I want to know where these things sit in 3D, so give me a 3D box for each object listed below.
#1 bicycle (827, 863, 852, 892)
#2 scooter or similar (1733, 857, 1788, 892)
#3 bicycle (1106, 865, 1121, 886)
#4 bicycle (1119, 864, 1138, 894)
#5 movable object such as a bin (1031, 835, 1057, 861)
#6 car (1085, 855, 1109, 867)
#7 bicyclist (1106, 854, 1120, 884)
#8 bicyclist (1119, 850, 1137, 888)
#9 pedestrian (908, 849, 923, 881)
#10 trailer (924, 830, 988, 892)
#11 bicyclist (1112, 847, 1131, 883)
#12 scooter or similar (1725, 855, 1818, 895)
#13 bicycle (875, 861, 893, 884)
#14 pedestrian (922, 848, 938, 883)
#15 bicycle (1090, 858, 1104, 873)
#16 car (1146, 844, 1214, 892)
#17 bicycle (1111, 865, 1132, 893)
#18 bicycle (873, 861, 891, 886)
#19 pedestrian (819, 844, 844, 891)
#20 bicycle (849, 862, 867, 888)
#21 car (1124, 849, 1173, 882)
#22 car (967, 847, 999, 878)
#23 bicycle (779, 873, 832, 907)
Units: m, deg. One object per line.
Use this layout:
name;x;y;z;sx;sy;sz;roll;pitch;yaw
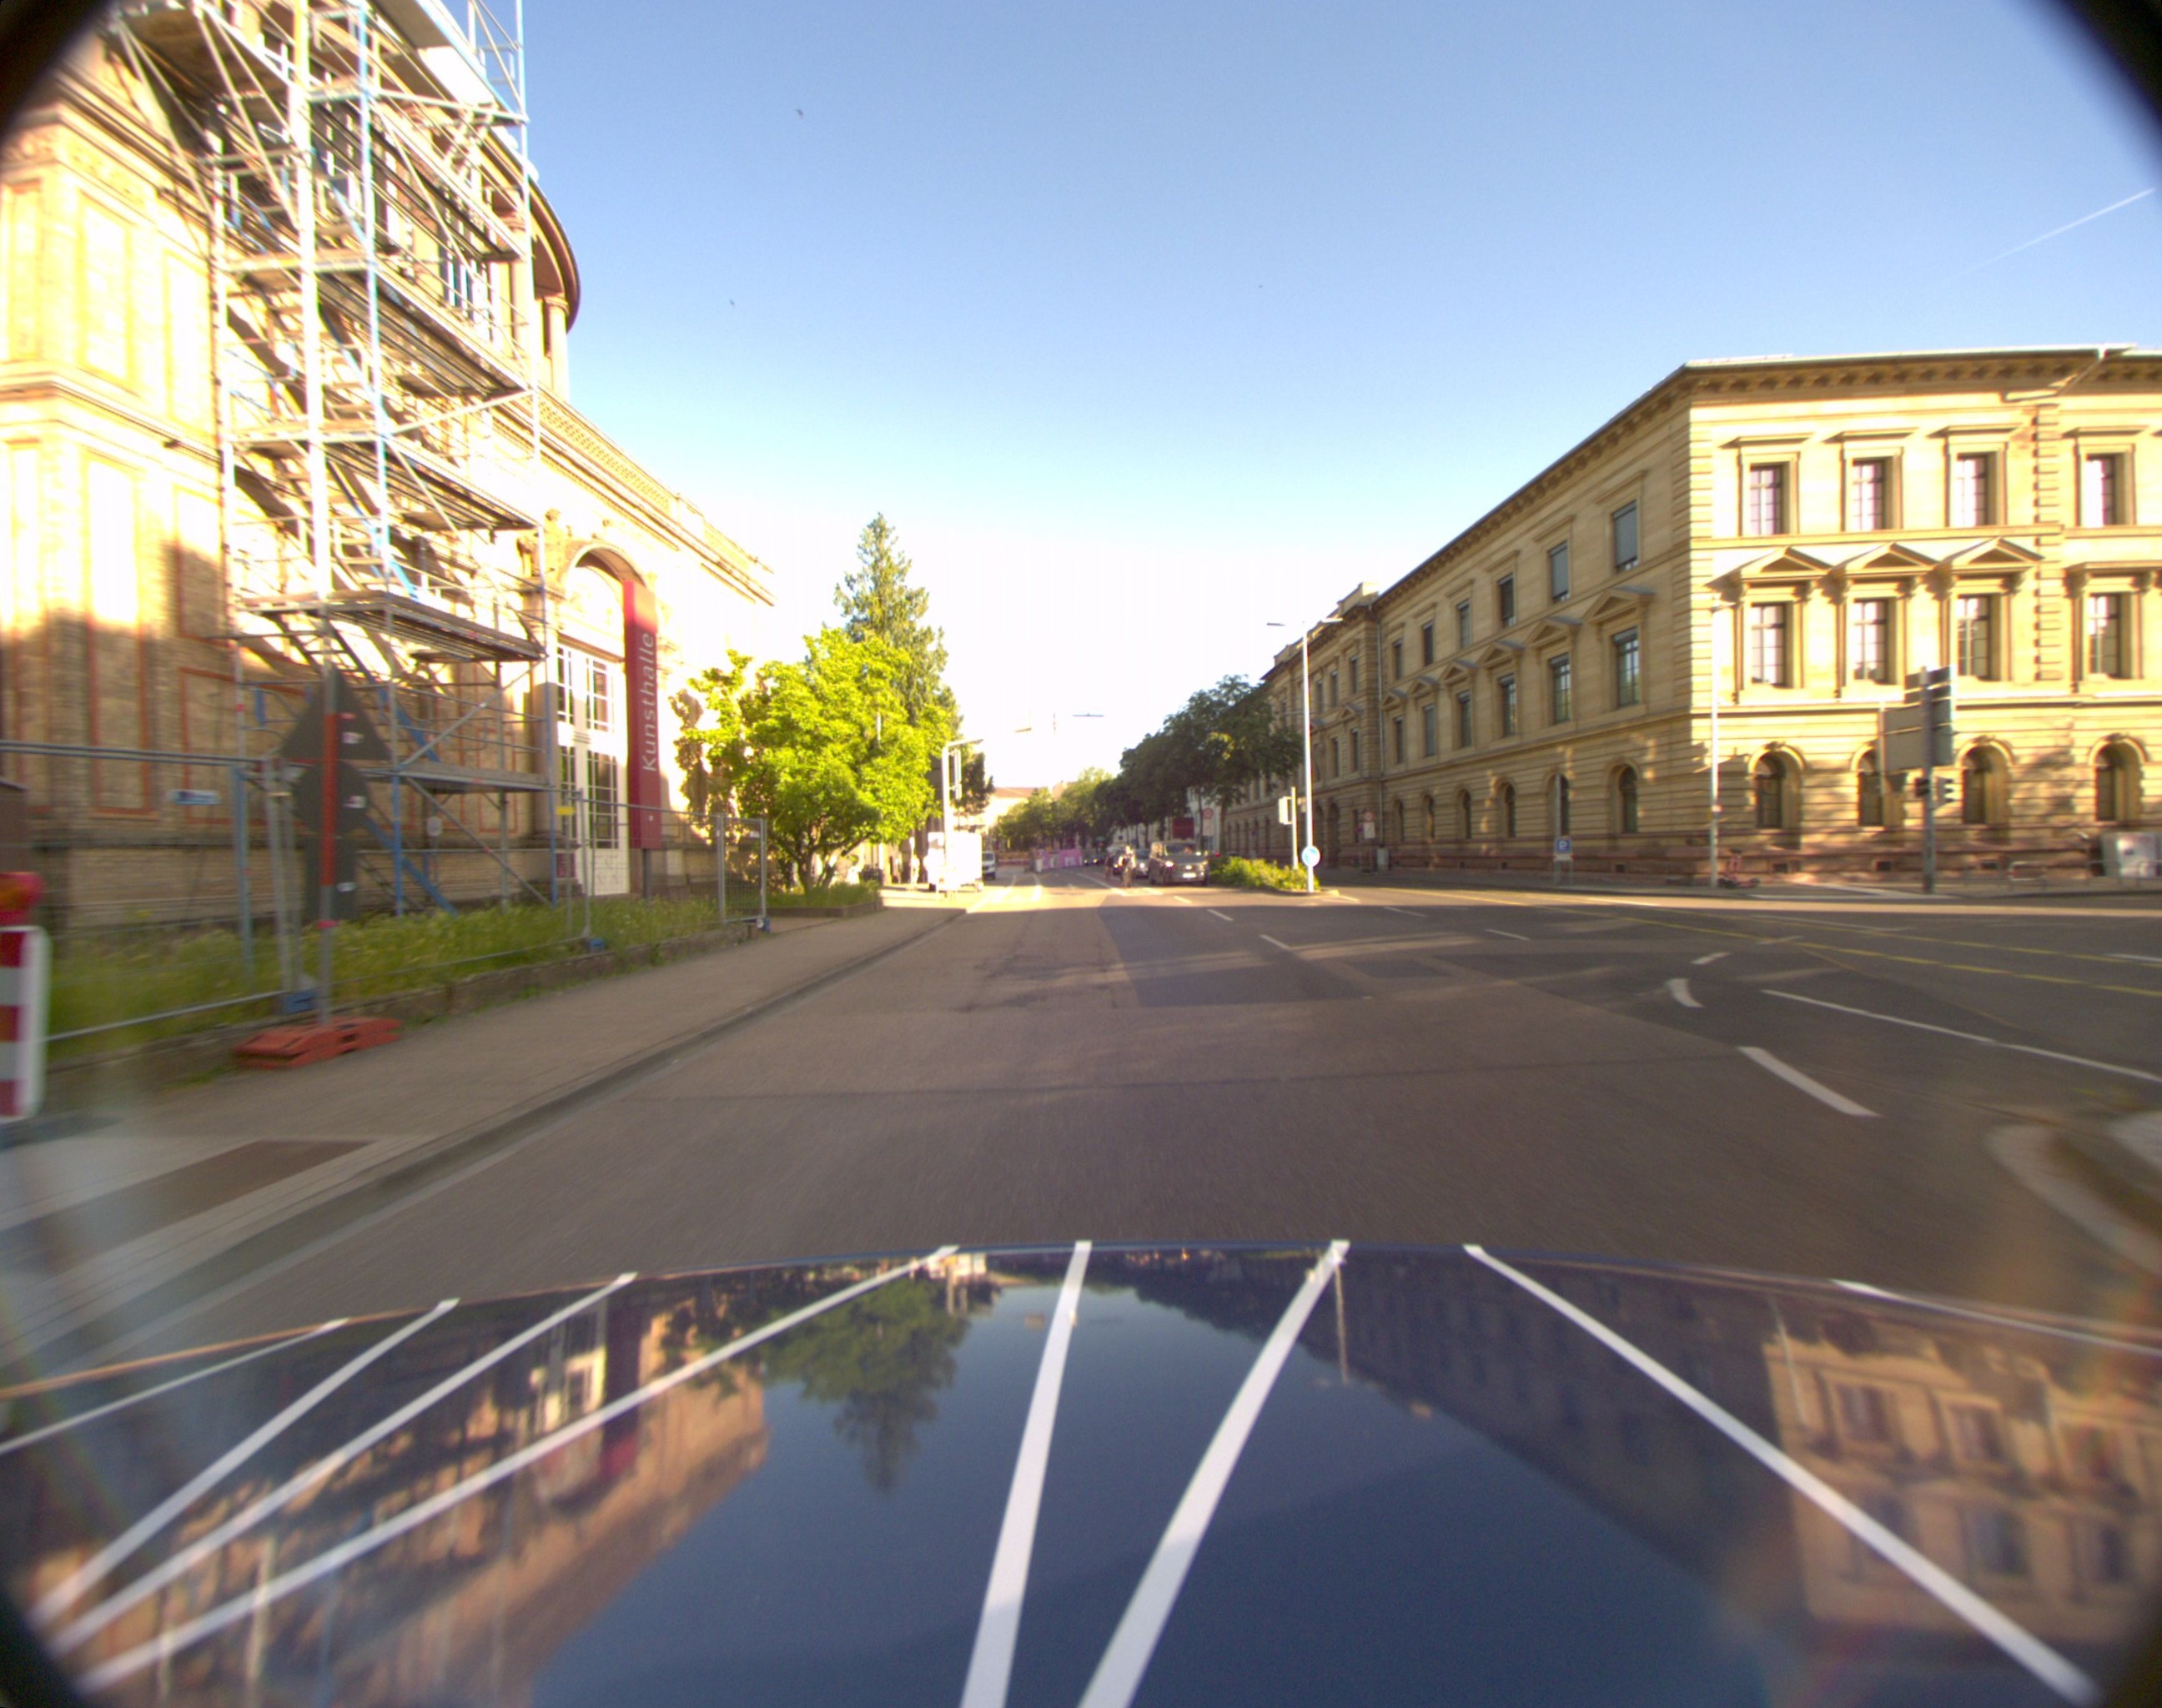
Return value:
bicycle;-9.777;0.941;30.813;0.400;1.099;1.681;0;0;3
scooter or similar;21.190;0.640;23.714;1.330;1.046;0.393;-1;1;2
bicycle;1.784;1.181;41.941;0.671;1.066;1.752;-2;1;-1
bicycle;1.978;1.024;32.055;0.643;1.148;2.077;-2;1;0
movable object such as a bin;-4.915;-0.739;99.675;3.171;3.281;4.383;-1;0;-5
car;1.813;0.757;86.379;1.550;1.288;3.644;2;1;21
bicyclist;1.767;0.814;42.054;0.674;1.643;0.887;-2;1;-2
bicyclist;1.984;0.629;32.040;0.672;1.599;0.825;-1;1;0
pedestrian;-8.953;0.589;41.034;0.684;1.691;0.693;0;0;-3
trailer;-5.332;0.286;33.070;2.085;2.513;4.491;0;0;-1
bicyclist;1.832;0.501;34.765;0.805;1.599;0.825;-1;1;0
scooter or similar;20.764;0.629;22.890;2.028;1.181;0.457;-1;1;27
bicycle;-10.107;0.948;38.994;0.419;1.149;1.826;1;0;1
pedestrian;-8.172;0.604;41.146;0.717;1.883;0.889;0;0;-5
bicycle;1.193;0.866;57.929;0.872;1.036;2.453;-3;1;-2
car;4.282;0.532;33.588;2.074;1.904;5.031;-1;1;-3
bicycle;1.819;1.120;34.720;0.831;1.136;1.969;-2;1;0
bicycle;-9.533;0.932;36.524;0.396;1.123;1.927;-1;0;-2
pedestrian;-9.429;0.499;28.713;0.641;1.758;0.737;-1;1;1
bicycle;-9.844;0.903;33.583;0.274;1.099;1.532;0;0;3
car;3.834;0.635;43.716;1.997;1.739;4.745;-1;0;-5
car;-6.740;0.545;52.485;2.021;1.934;5.477;-3;1;-7
bicycle;-8.645;1.131;23.829;1.470;1.033;0.479;-1;1;-2
